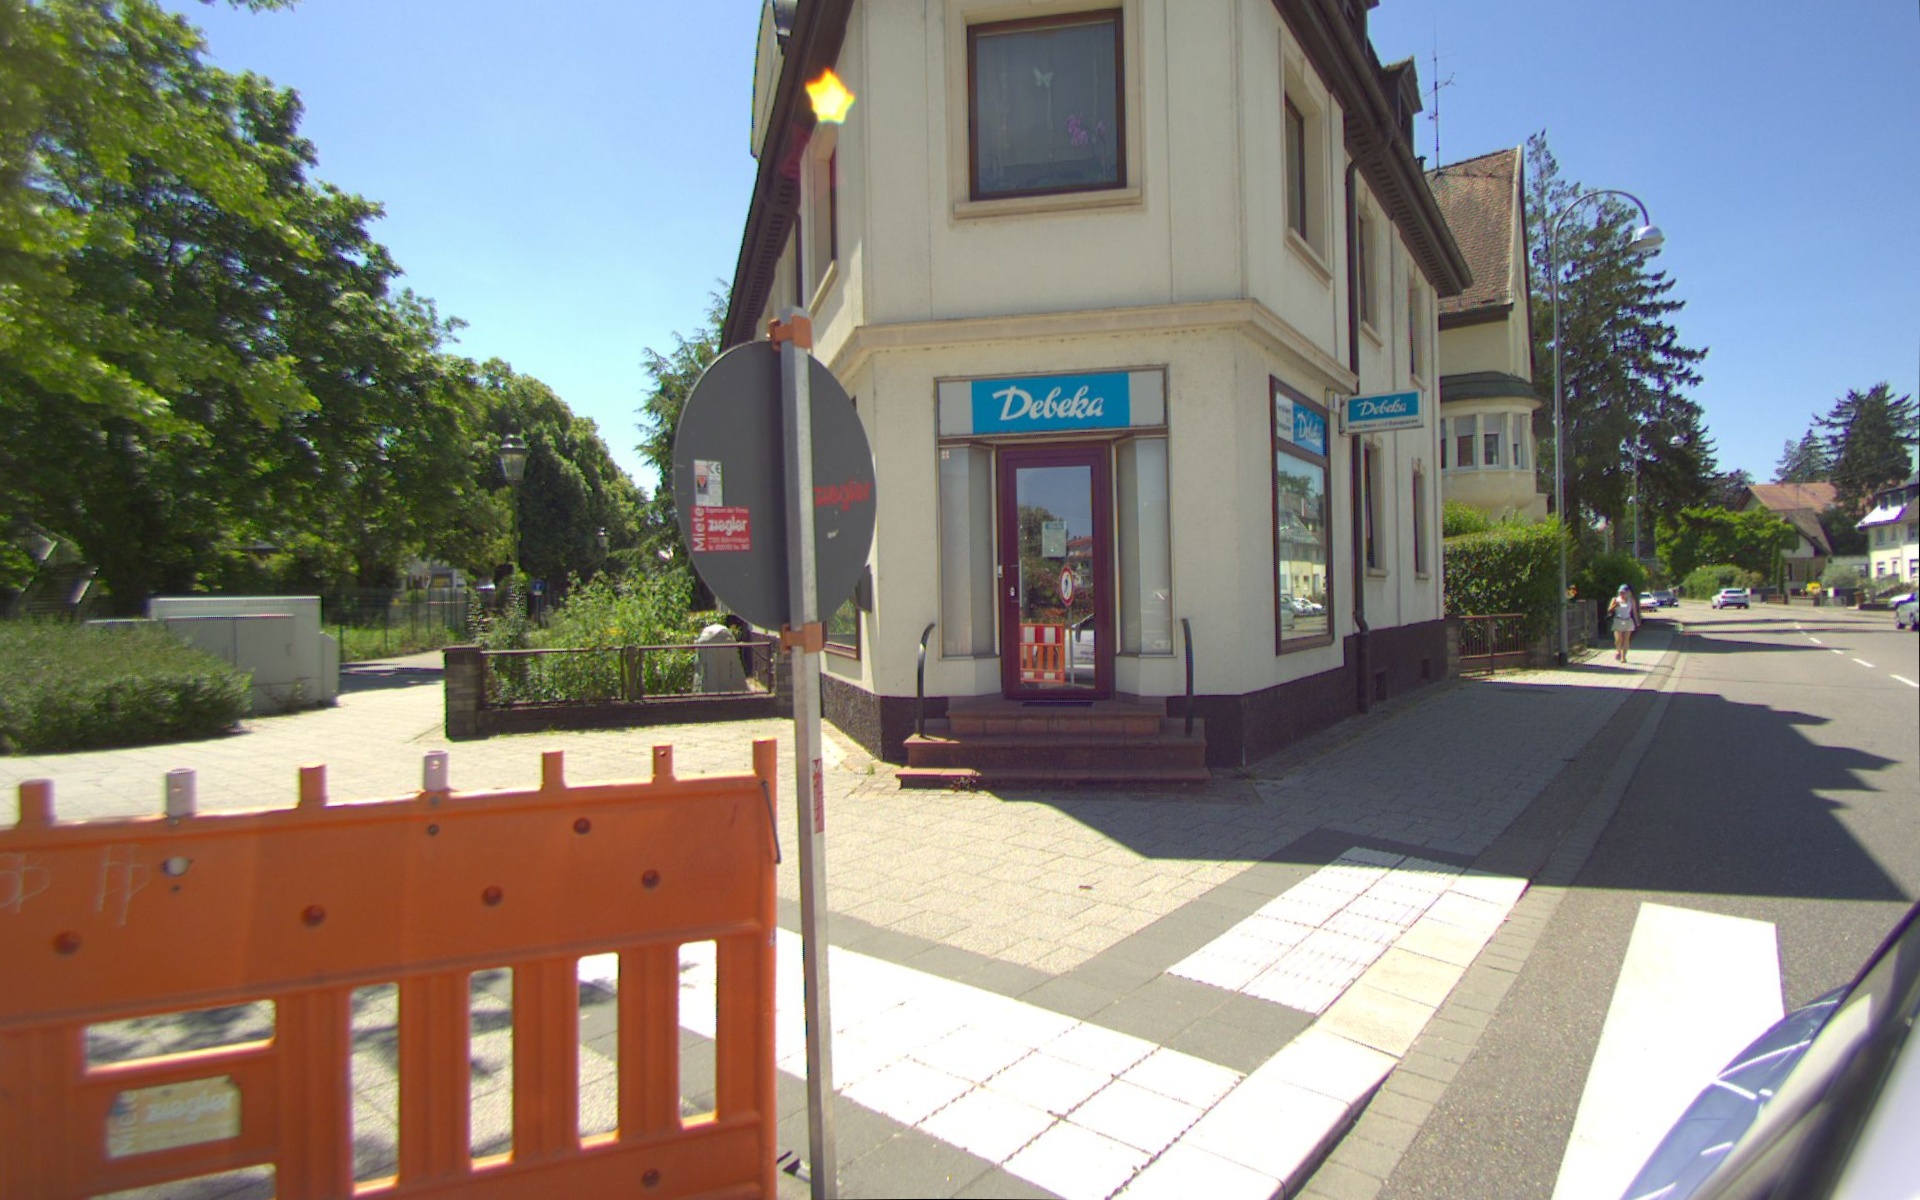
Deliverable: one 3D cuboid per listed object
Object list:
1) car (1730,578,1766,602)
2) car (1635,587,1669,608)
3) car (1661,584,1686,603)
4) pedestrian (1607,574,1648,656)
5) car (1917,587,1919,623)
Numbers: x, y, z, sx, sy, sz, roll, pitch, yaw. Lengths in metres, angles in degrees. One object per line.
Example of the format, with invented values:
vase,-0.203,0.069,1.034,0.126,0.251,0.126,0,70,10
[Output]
car,57.011,-0.738,73.249,1.815,1.549,3.901,-2,1,35
car,52.010,-0.209,76.123,1.674,1.473,3.702,-3,-1,28
car,60.571,-0.545,85.904,1.679,1.473,3.692,-3,-1,36
pedestrian,14.167,0.299,21.478,0.621,1.663,0.763,4,3,34
car,35.566,0.068,35.971,1.836,1.549,4.329,5,1,39
